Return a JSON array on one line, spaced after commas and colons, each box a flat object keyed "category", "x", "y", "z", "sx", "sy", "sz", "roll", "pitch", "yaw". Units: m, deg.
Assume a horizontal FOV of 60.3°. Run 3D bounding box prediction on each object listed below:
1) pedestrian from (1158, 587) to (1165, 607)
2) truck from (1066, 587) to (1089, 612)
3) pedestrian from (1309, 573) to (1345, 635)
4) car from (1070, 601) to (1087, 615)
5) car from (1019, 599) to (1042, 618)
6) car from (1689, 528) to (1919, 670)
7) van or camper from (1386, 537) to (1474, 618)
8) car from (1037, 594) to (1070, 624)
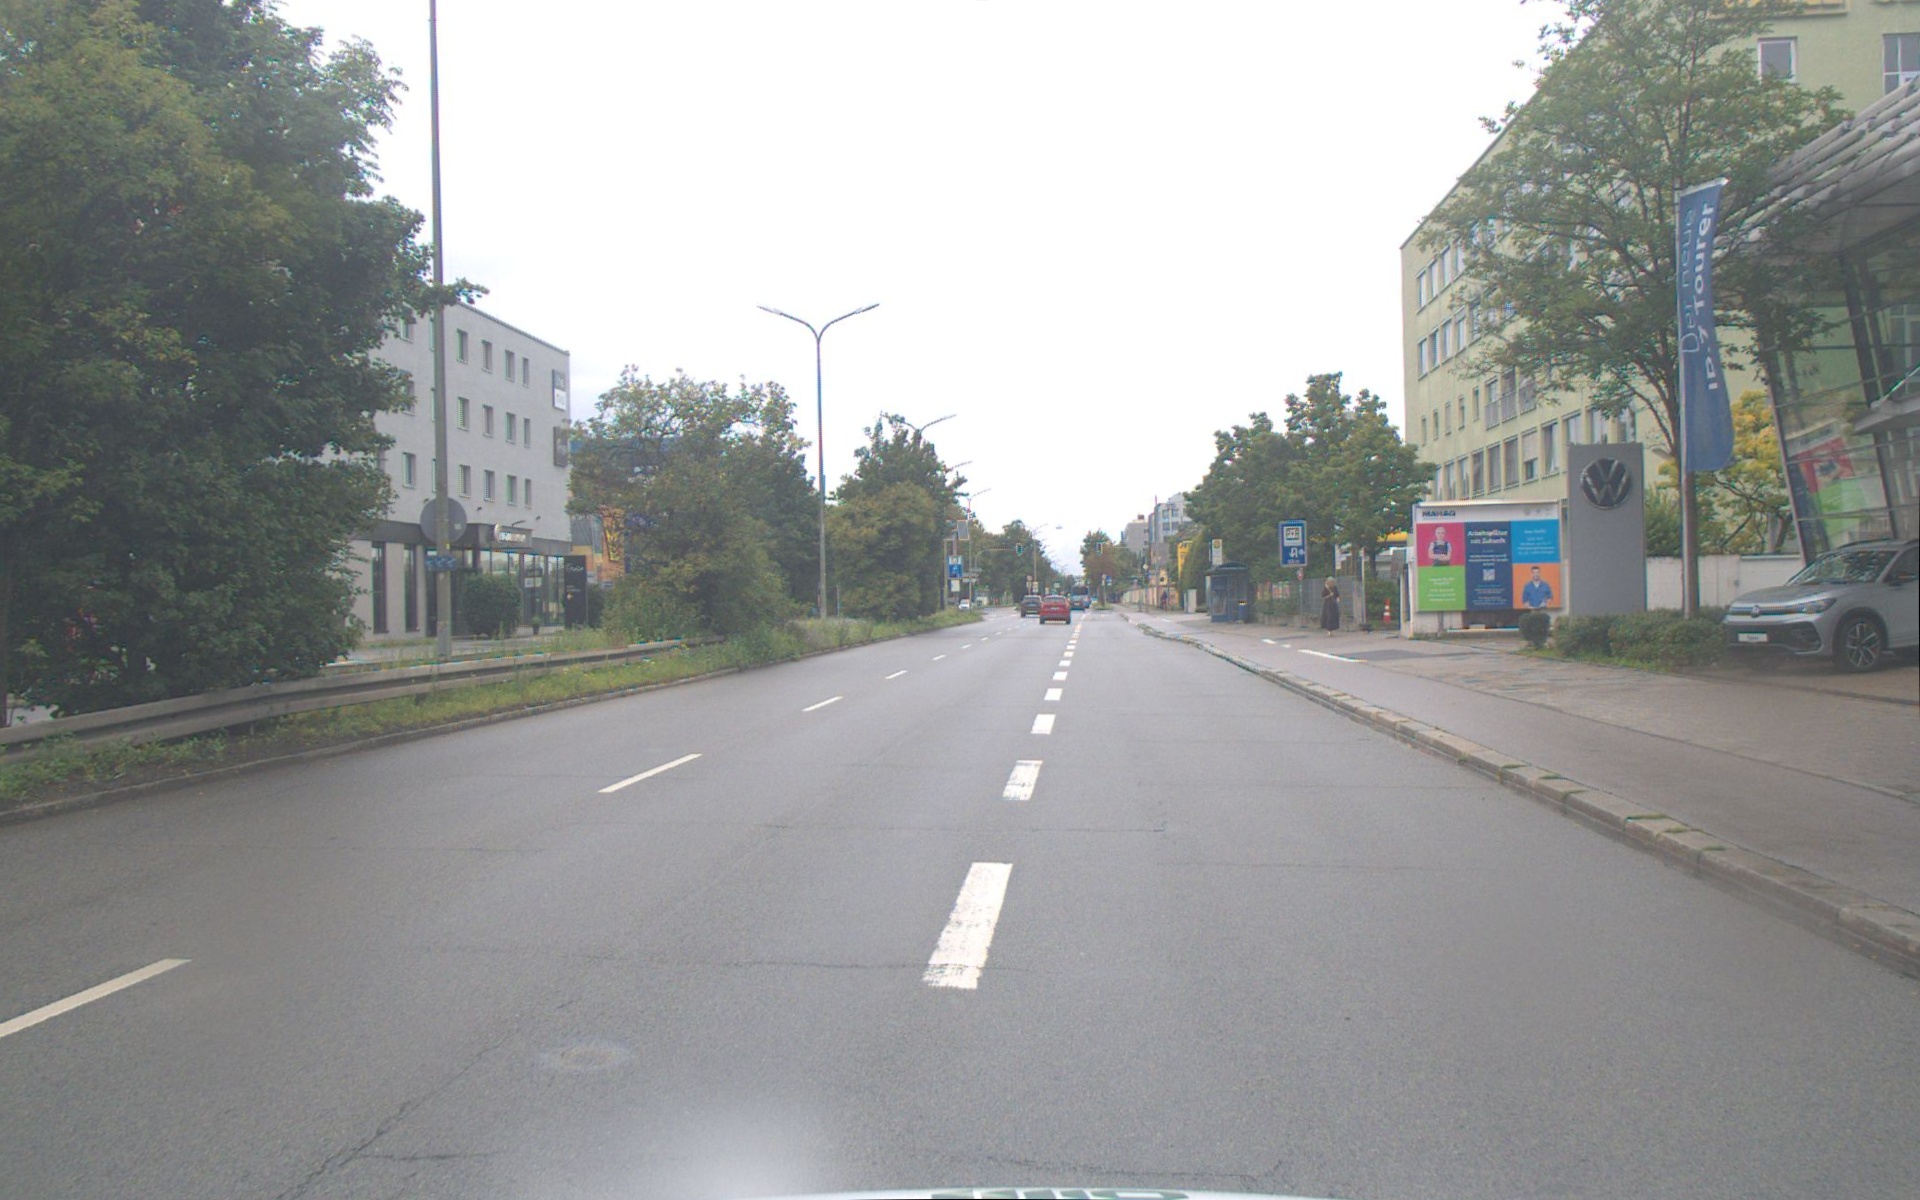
[{"category": "pedestrian", "x": 16.588, "y": -0.260, "z": 136.142, "sx": 0.473, "sy": 1.664, "sz": 0.591, "roll": -1, "pitch": 0, "yaw": 4}, {"category": "truck", "x": 16.025, "y": -0.103, "z": 225.921, "sx": 2.907, "sy": 3.343, "sz": 7.918, "roll": -1, "pitch": 0, "yaw": 3}, {"category": "pedestrian", "x": 10.879, "y": 0.111, "z": 49.068, "sx": 0.742, "sy": 1.758, "sz": 0.895, "roll": -5, "pitch": 0, "yaw": 2}, {"category": "car", "x": 12.819, "y": 0.833, "z": 179.215, "sx": 1.765, "sy": 1.458, "sz": 4.001, "roll": -1, "pitch": 0, "yaw": 3}, {"category": "car", "x": 5.507, "y": 0.670, "z": 129.191, "sx": 1.765, "sy": 1.458, "sz": 4.001, "roll": -2, "pitch": 0, "yaw": 3}, {"category": "car", "x": 12.575, "y": -0.060, "z": 22.589, "sx": 4.516, "sy": 1.736, "sz": 1.998, "roll": -3, "pitch": -1, "yaw": -17}, {"category": "van or camper", "x": 16.080, "y": -0.744, "z": 56.897, "sx": 2.079, "sy": 2.540, "sz": 7.395, "roll": -1, "pitch": 0, "yaw": 10}, {"category": "car", "x": 5.468, "y": 0.536, "z": 96.966, "sx": 1.823, "sy": 1.646, "sz": 4.001, "roll": -1, "pitch": -1, "yaw": 2}]
